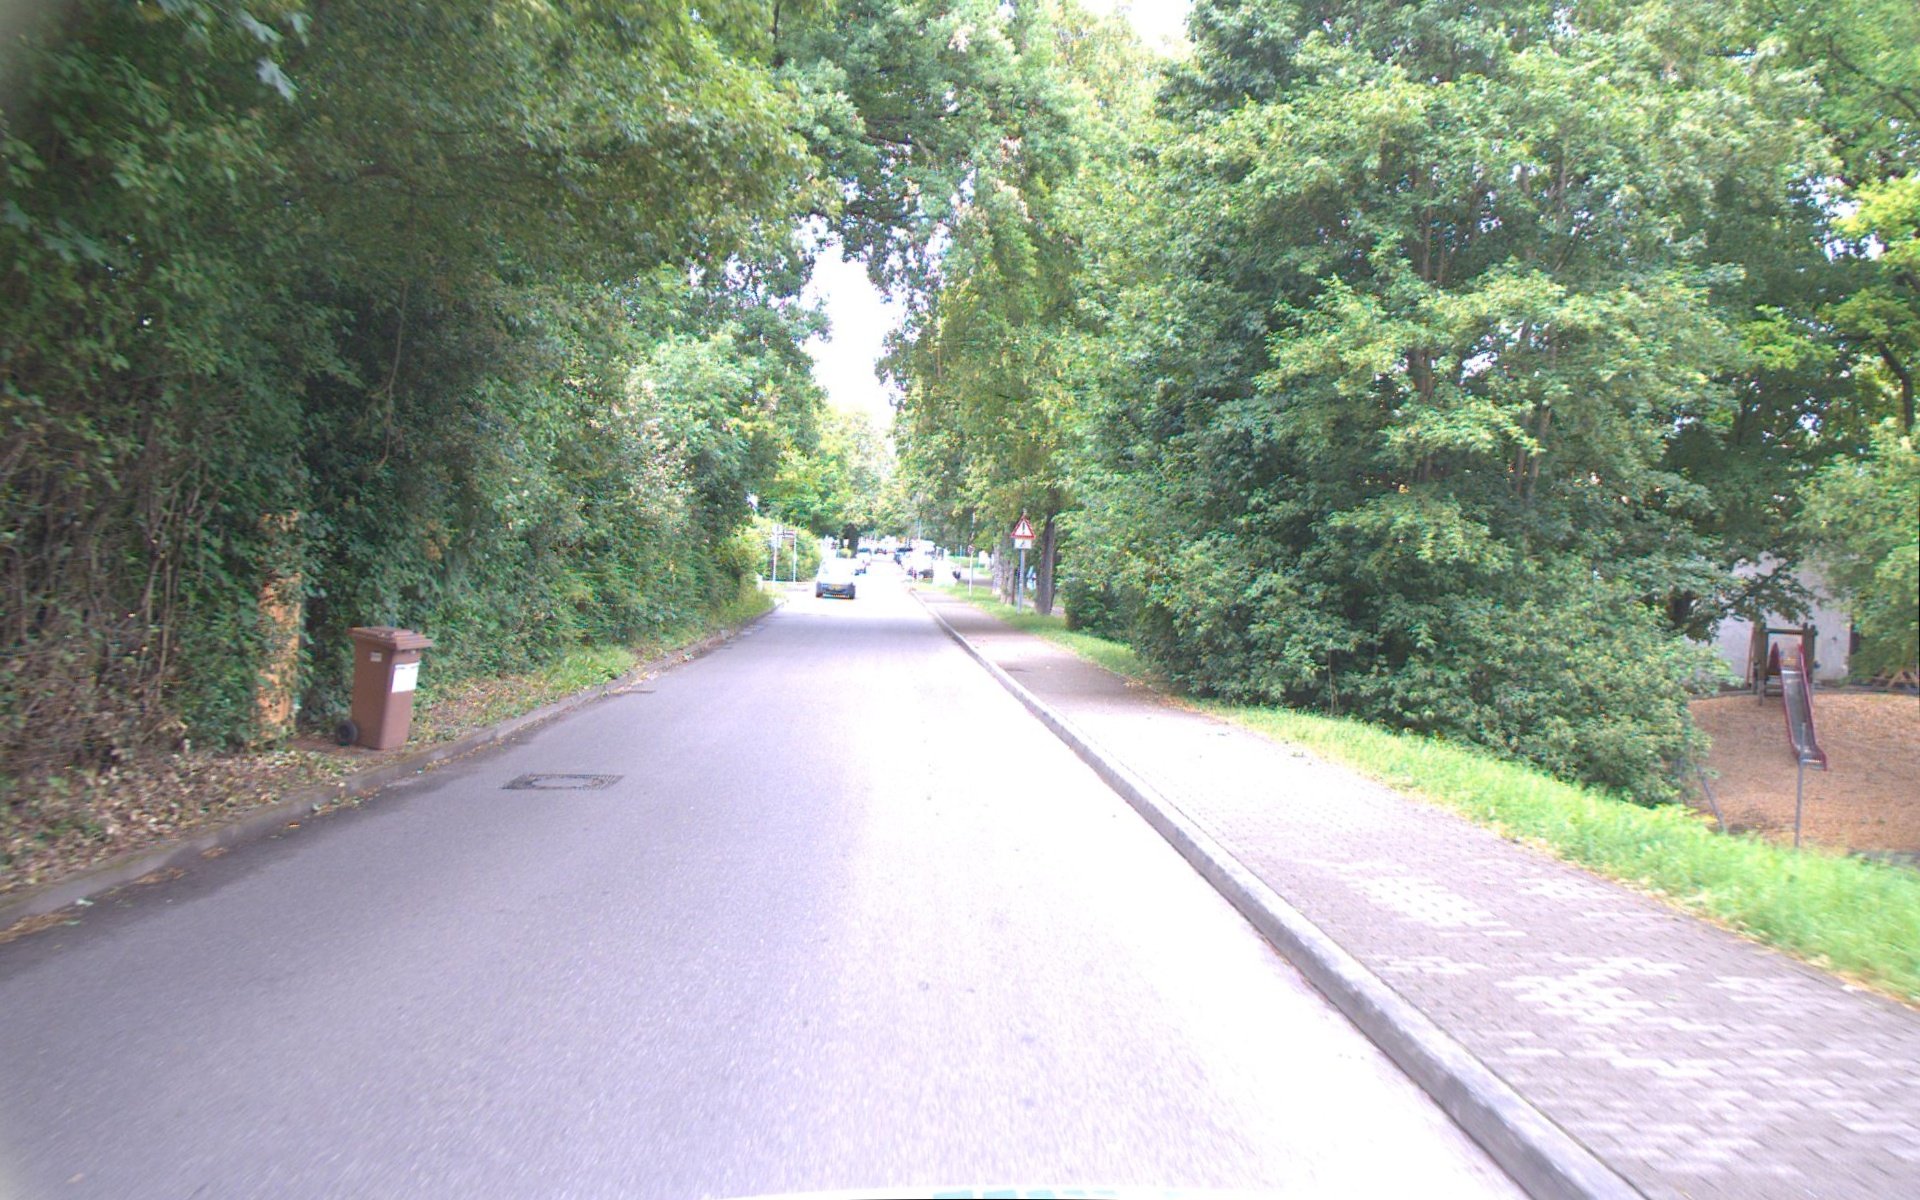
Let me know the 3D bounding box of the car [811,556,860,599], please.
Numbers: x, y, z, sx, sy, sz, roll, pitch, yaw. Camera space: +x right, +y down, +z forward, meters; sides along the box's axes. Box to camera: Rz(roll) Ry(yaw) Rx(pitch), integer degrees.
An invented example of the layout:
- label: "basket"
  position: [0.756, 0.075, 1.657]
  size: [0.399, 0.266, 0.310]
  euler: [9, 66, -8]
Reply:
- label: "car"
  position: [-5.671, -0.996, 75.745]
  size: [1.953, 1.803, 3.999]
  euler: [2, -1, -1]

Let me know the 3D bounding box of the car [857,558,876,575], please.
- label: "car"
  position: [-10.711, -3.823, 189.016]
  size: [1.953, 1.803, 3.999]
  euler: [2, -1, -1]

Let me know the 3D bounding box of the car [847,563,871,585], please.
- label: "car"
  position: [-9.111, -2.360, 149.523]
  size: [1.953, 1.803, 3.999]
  euler: [2, -1, -1]

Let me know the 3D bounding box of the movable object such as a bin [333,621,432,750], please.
- label: "movable object such as a bin"
  position: [-4.551, 0.667, 13.060]
  size: [0.578, 0.974, 0.470]
  euler: [2, -1, -2]

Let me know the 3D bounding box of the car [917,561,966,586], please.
- label: "car"
  position: [-1.556, -2.189, 136.098]
  size: [3.907, 1.803, 1.999]
  euler: [2, -1, -2]
